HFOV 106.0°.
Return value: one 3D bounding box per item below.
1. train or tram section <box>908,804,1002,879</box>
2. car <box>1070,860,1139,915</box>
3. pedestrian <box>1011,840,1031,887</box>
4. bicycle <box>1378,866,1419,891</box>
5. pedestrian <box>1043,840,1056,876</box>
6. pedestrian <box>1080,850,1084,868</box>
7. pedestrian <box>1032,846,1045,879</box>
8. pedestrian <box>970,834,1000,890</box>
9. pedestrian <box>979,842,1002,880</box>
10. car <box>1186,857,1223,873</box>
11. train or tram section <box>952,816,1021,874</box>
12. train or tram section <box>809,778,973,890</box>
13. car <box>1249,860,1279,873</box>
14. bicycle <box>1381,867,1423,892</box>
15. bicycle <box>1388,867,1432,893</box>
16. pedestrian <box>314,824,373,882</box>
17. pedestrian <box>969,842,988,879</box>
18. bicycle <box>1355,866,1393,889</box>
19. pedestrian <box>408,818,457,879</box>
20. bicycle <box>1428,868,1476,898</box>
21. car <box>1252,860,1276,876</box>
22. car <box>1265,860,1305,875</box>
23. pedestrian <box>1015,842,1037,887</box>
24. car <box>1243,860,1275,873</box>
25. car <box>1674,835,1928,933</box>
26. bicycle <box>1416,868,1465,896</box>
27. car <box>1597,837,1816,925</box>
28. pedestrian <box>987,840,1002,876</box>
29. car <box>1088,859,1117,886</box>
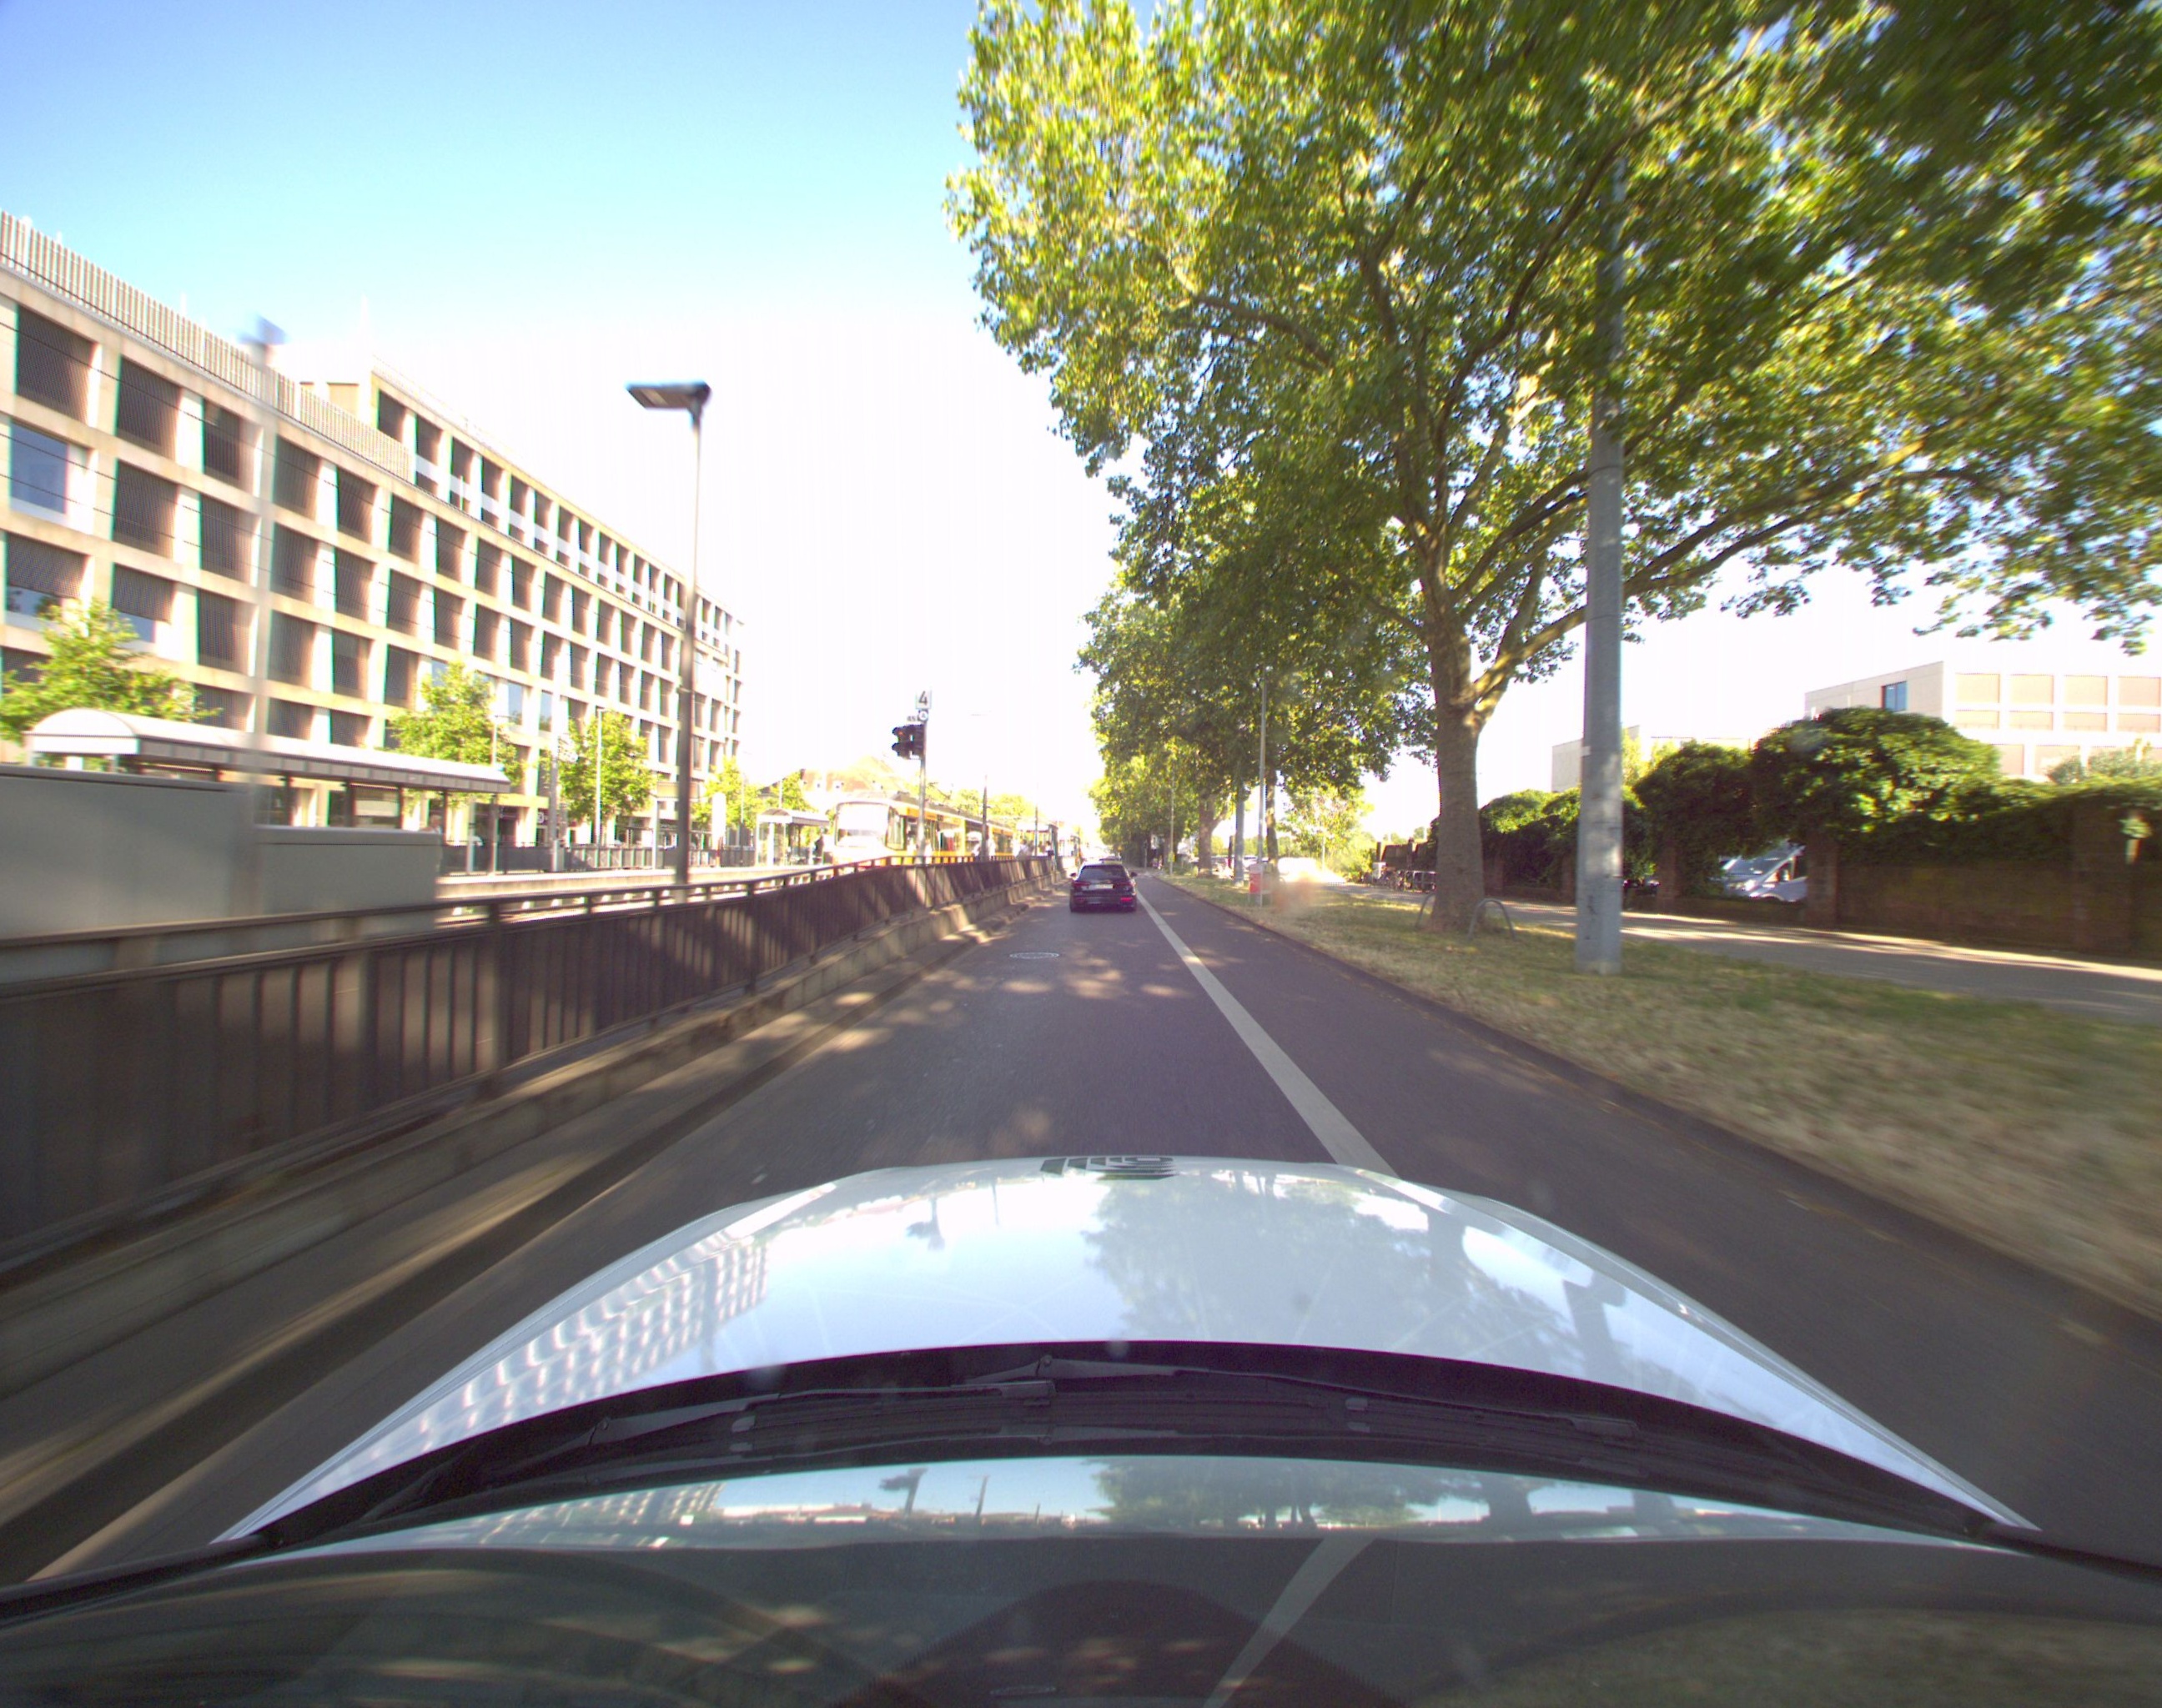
[{"bbox_3d":[-7.168,-0.641,48.646,3.296,3.829,11.847,2,0,2],"label":"train or tram section"},{"bbox_3d":[0.626,0.920,23.609,1.872,1.457,3.356,0,0,-1],"label":"car"},{"bbox_3d":[-2.157,0.349,29.314,0.609,1.668,0.614,1,-1,3],"label":"pedestrian"},{"bbox_3d":[14.835,1.147,38.050,1.767,1.120,0.439,0,-1,0],"label":"bicycle"},{"bbox_3d":[-1.608,0.203,41.709,0.609,1.784,0.614,2,-1,2],"label":"pedestrian"},{"bbox_3d":[0.097,0.452,78.755,0.410,1.717,0.666,2,-1,2],"label":"pedestrian"},{"bbox_3d":[-2.306,0.443,44.325,0.607,1.784,0.681,2,-1,2],"label":"pedestrian"},{"bbox_3d":[-2.757,0.229,23.484,0.610,1.549,0.727,1,-1,12],"label":"pedestrian"},{"bbox_3d":[-4.331,0.347,39.010,0.799,1.784,0.642,2,-1,-38],"label":"pedestrian"},{"bbox_3d":[13.952,1.248,92.226,3.971,1.764,1.834,1,-1,2],"label":"car"},{"bbox_3d":[-6.759,-0.576,60.490,3.296,3.829,11.847,2,0,2],"label":"train or tram section"},{"bbox_3d":[-7.587,-0.665,35.540,3.296,3.829,14.224,2,0,2],"label":"train or tram section"},{"bbox_3d":[25.760,1.770,114.788,3.797,1.609,1.671,1,0,2],"label":"car"},{"bbox_3d":[14.573,1.147,37.010,1.767,1.120,0.439,0,-1,0],"label":"bicycle"},{"bbox_3d":[14.527,1.148,35.923,1.767,1.120,0.439,0,-1,0],"label":"bicycle"},{"bbox_3d":[-16.635,-0.017,18.393,0.611,1.260,0.725,1,-1,6],"label":"pedestrian"},{"bbox_3d":[-5.017,0.331,39.861,0.790,1.784,0.626,2,-1,2],"label":"pedestrian"},{"bbox_3d":[14.487,1.157,40.309,1.770,1.120,0.438,0,-1,-6],"label":"bicycle"},{"bbox_3d":[-16.655,-0.149,20.923,0.610,1.527,0.726,1,-1,10],"label":"pedestrian"},{"bbox_3d":[14.459,1.126,31.772,1.681,1.120,0.439,0,-1,0],"label":"bicycle"},{"bbox_3d":[18.168,1.329,81.002,1.608,1.515,3.805,2,0,2],"label":"car"},{"bbox_3d":[24.529,1.565,97.909,4.436,1.658,1.921,2,0,6],"label":"car"},{"bbox_3d":[-2.041,0.374,30.174,0.613,1.642,0.610,2,-1,-18],"label":"pedestrian"},{"bbox_3d":[26.857,1.835,123.042,4.341,1.816,1.998,1,0,-2],"label":"car"},{"bbox_3d":[20.481,0.830,23.340,5.441,2.490,2.000,2,-1,1],"label":"car"},{"bbox_3d":[14.498,1.132,32.839,1.767,1.120,0.439,0,-1,0],"label":"bicycle"},{"bbox_3d":[19.967,0.840,26.171,5.441,2.490,2.000,2,-1,1],"label":"car"},{"bbox_3d":[-4.406,0.191,41.375,0.609,1.784,0.775,2,-1,2],"label":"pedestrian"},{"bbox_3d":[1.373,1.167,52.913,1.757,1.619,3.999,1,0,0],"label":"car"}]
